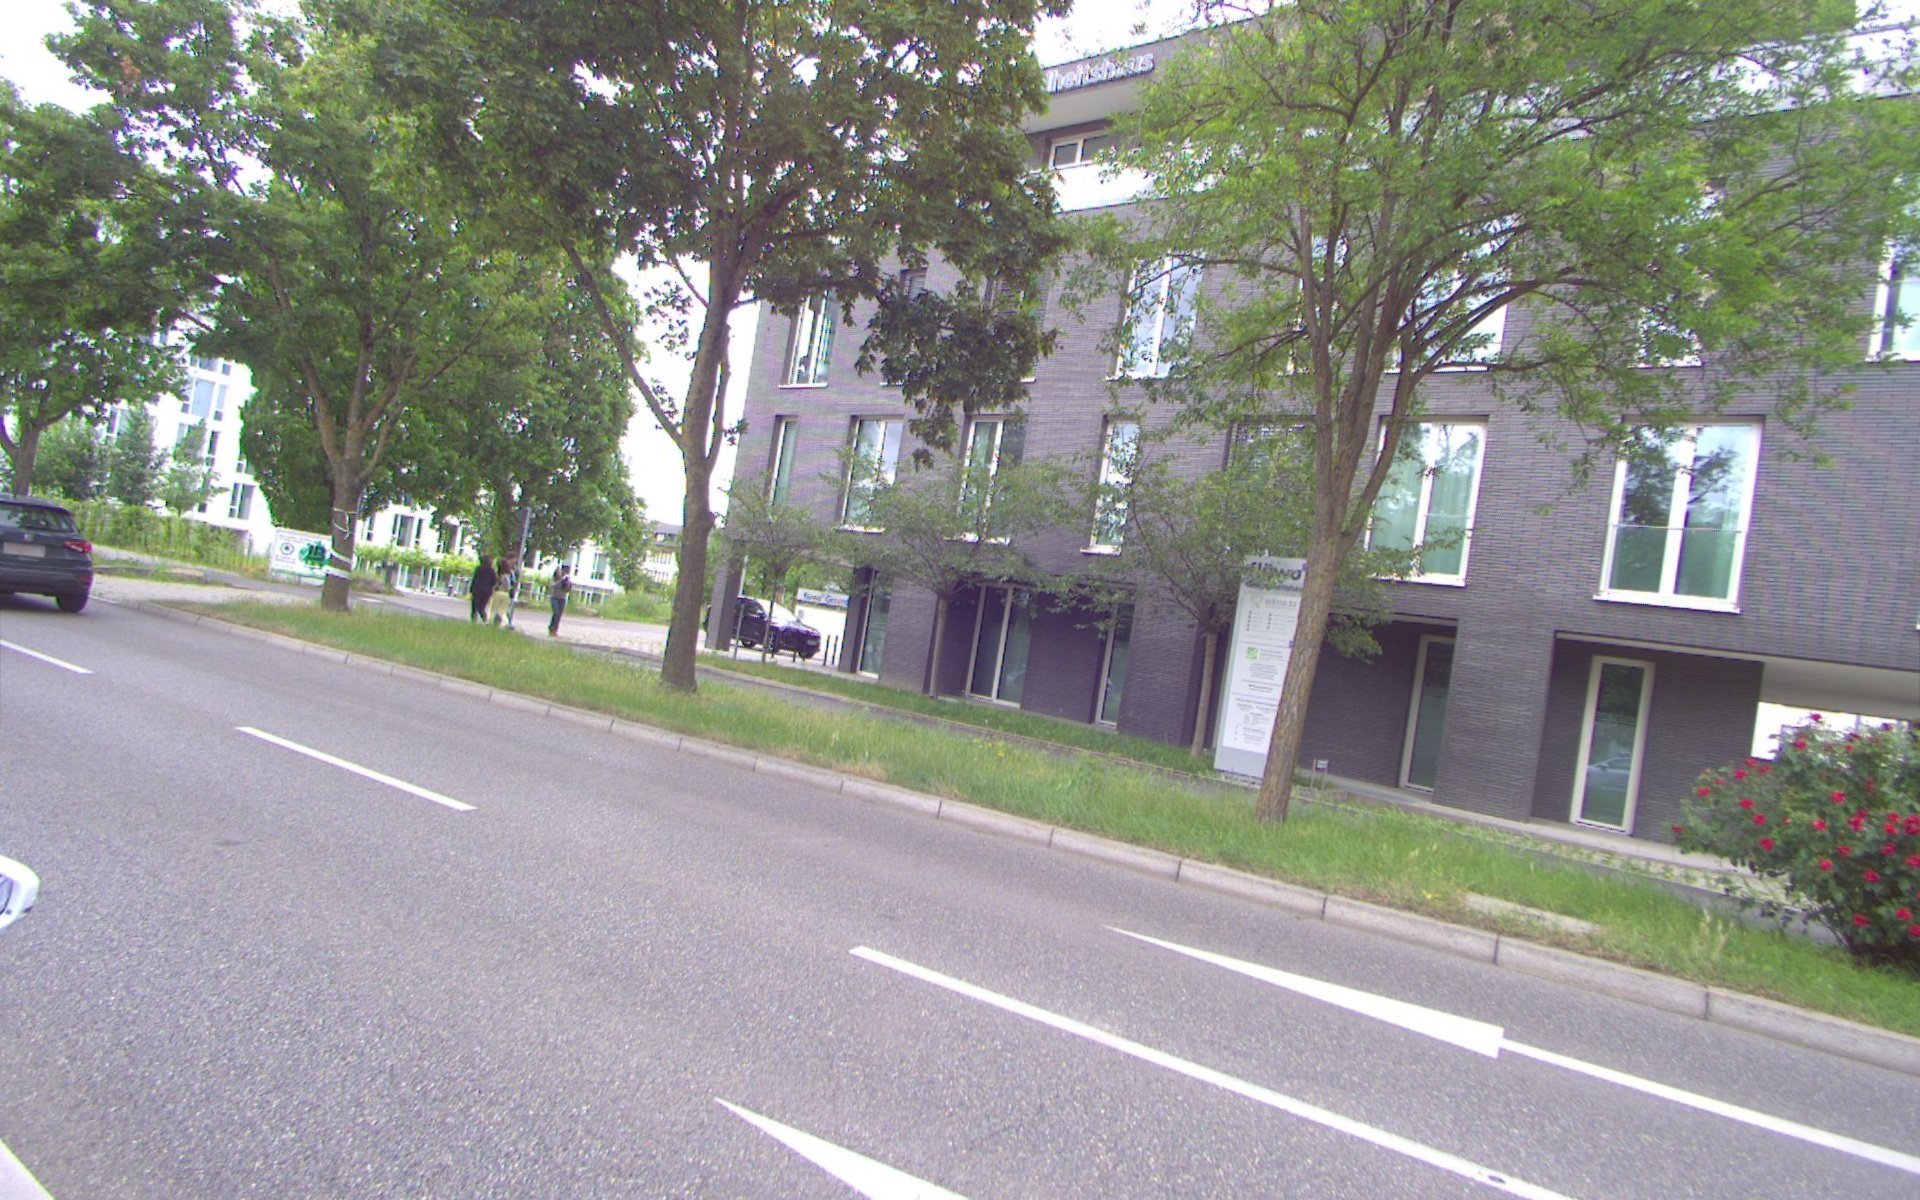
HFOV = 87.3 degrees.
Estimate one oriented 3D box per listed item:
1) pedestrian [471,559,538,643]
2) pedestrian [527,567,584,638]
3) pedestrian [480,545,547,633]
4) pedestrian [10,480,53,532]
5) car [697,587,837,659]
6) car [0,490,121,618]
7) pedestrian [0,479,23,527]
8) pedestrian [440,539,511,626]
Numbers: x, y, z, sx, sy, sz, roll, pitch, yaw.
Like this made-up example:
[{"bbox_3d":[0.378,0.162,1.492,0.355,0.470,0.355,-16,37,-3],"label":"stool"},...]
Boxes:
[{"bbox_3d":[-9.994,0.014,22.075,0.937,1.679,0.779,7,-1,38],"label":"pedestrian"},{"bbox_3d":[-9.759,0.058,24.264,0.830,1.575,0.865,9,-2,-42],"label":"pedestrian"},{"bbox_3d":[-10.439,-0.252,23.531,0.957,1.889,0.967,9,-2,-43],"label":"pedestrian"},{"bbox_3d":[-33.445,-3.370,36.235,0.868,1.705,0.768,6,-1,31],"label":"pedestrian"},{"bbox_3d":[-6.101,0.720,31.690,4.080,1.665,1.759,7,-2,32],"label":"car"},{"bbox_3d":[-13.801,-0.806,14.308,3.935,1.530,1.660,7,-1,33],"label":"car"},{"bbox_3d":[-33.834,-3.450,35.526,0.868,1.614,0.701,6,-1,31],"label":"pedestrian"},{"bbox_3d":[-10.359,-0.375,21.501,1.043,1.679,0.796,7,-1,38],"label":"pedestrian"}]
